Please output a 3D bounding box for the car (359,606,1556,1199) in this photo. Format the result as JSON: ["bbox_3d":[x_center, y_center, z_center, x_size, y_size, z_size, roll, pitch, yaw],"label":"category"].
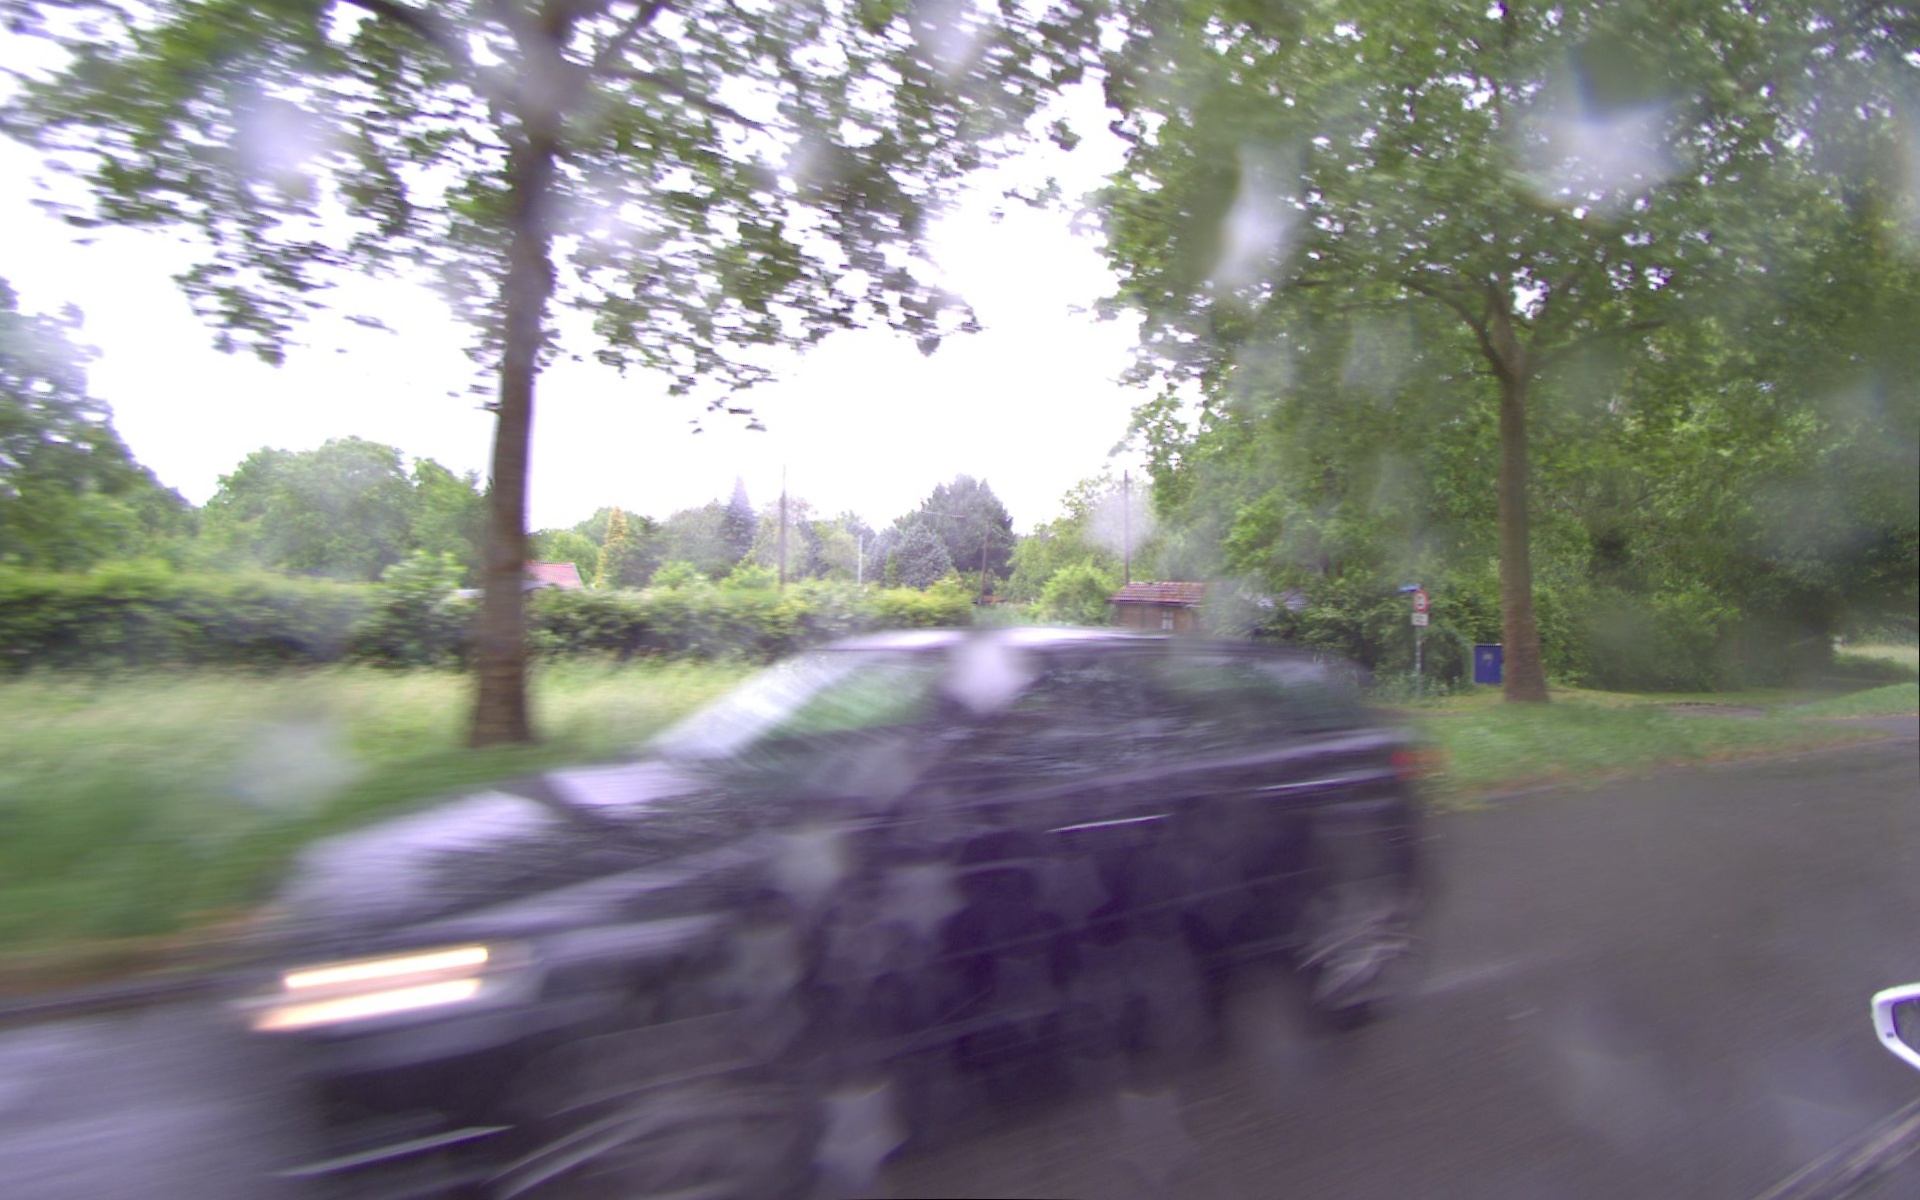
[{"bbox_3d":[0.216,0.798,3.737,4.179,1.442,1.722,1,1,-32],"label":"car"}]

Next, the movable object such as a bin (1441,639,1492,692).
[{"bbox_3d":[14.773,1.897,29.323,0.956,1.441,0.957,1,1,-33],"label":"movable object such as a bin"}]
